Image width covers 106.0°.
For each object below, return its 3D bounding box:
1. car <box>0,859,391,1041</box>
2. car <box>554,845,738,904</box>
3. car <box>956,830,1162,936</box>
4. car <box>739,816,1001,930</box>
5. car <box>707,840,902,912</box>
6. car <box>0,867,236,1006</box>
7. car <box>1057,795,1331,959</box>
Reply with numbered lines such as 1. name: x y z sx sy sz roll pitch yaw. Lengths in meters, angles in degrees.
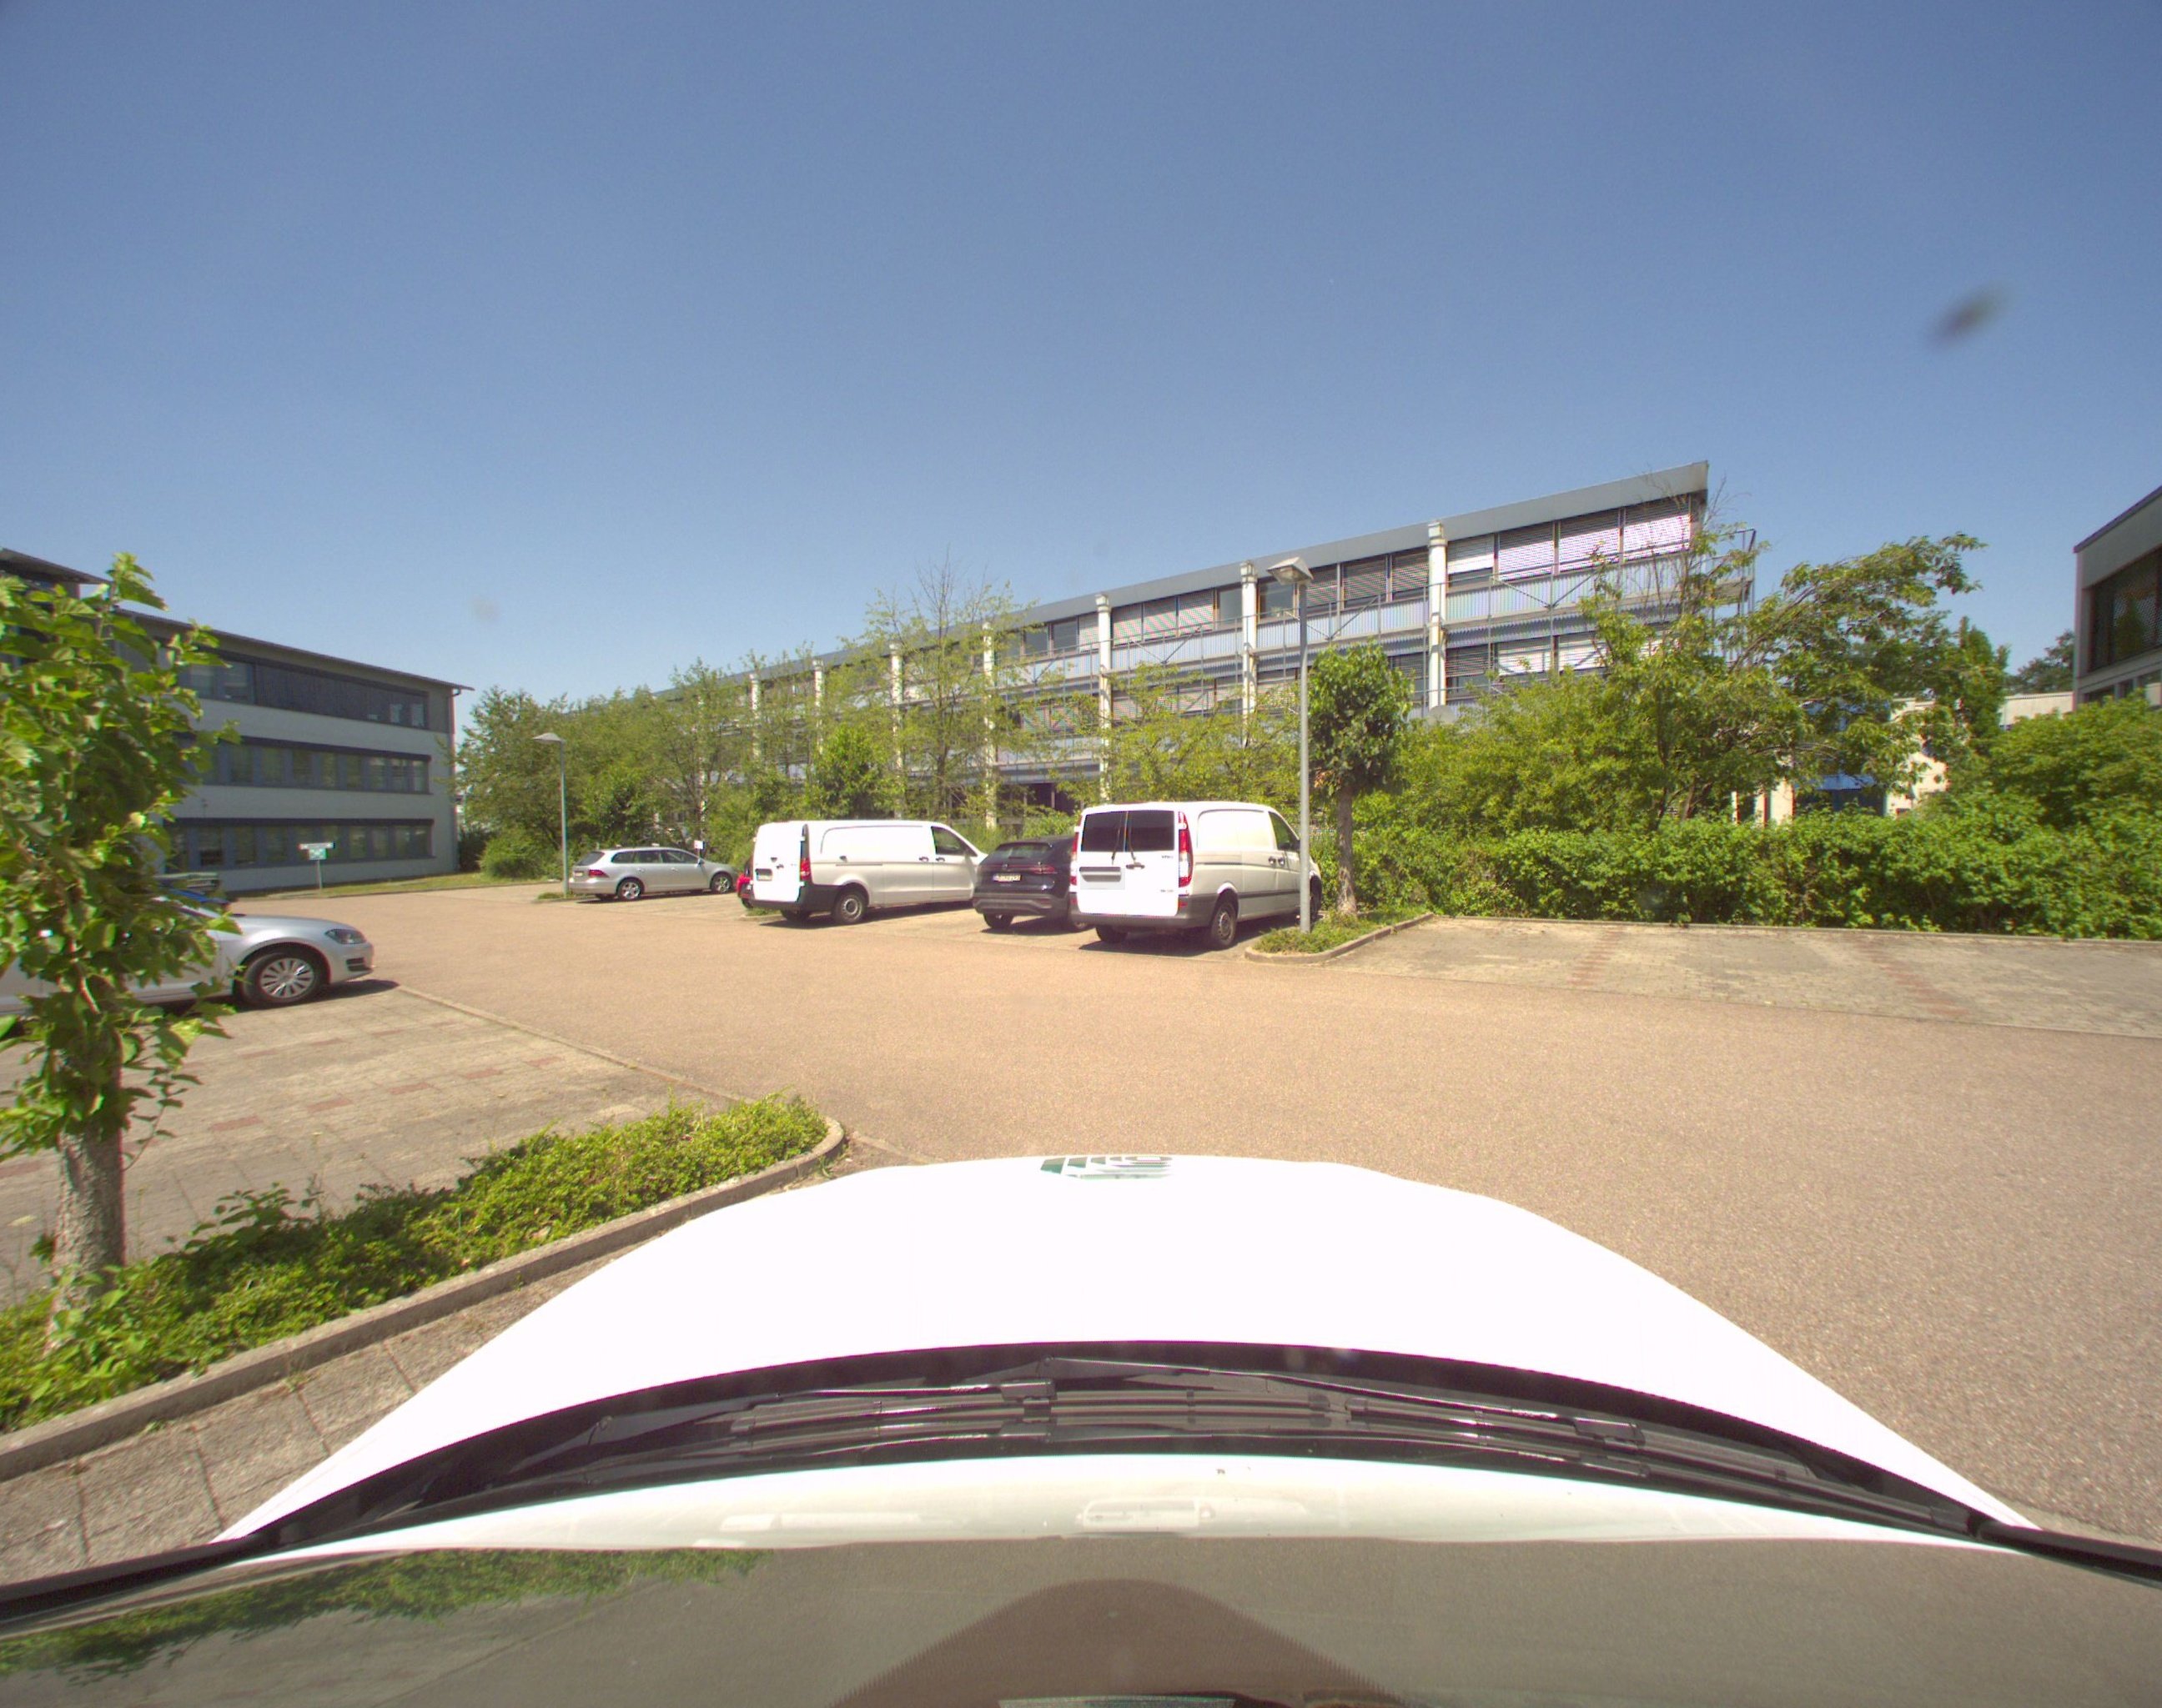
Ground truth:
1. car: -9.934 0.879 7.963 1.839 1.472 4.513 0 2 36
2. car: -12.312 0.504 23.260 1.849 1.406 4.197 0 2 40
3. car: -0.205 0.382 14.016 1.738 1.476 4.025 -1 2 28
4. car: -3.974 0.229 16.175 1.863 1.891 4.835 0 2 38
5. car: -6.472 0.445 19.418 1.765 1.441 4.026 0 2 39
6. car: -13.265 1.028 9.851 1.974 1.461 4.026 -1 3 40
7. car: 1.899 0.177 11.975 1.894 1.904 4.839 -1 2 36
